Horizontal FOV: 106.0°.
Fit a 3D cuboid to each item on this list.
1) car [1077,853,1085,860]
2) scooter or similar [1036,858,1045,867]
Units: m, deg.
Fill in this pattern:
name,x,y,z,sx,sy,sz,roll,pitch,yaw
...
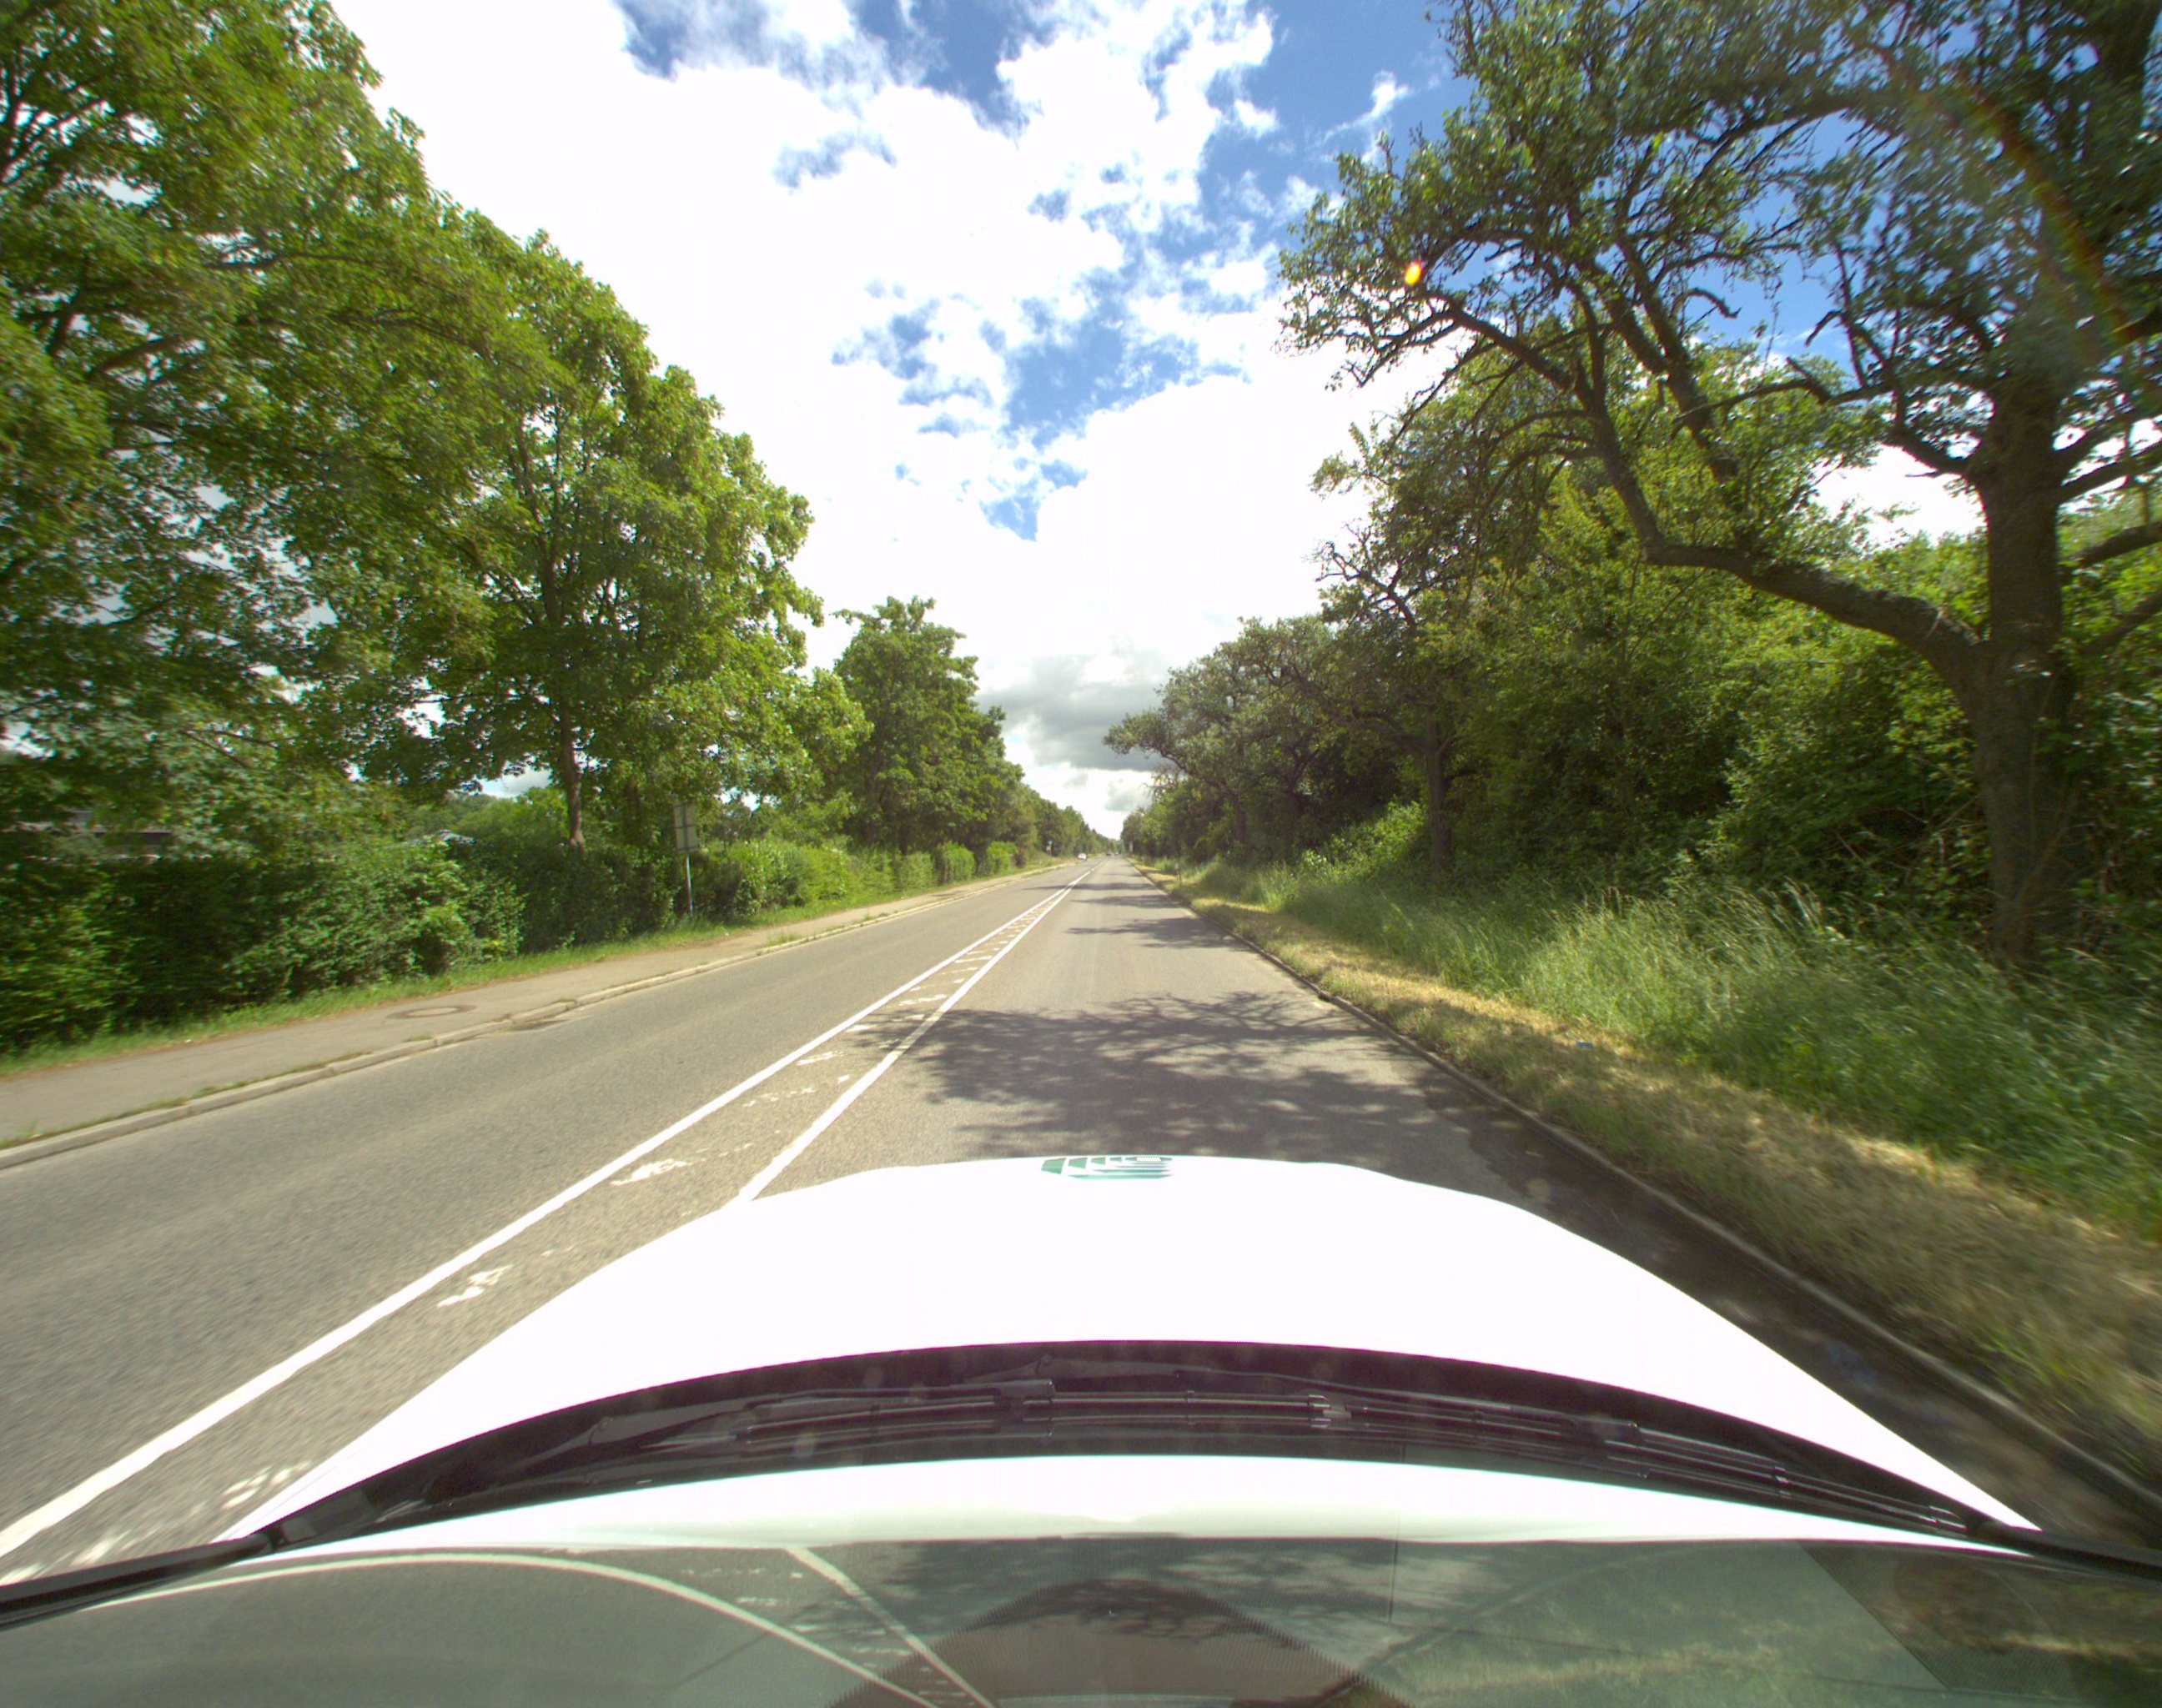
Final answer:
name,x,y,z,sx,sy,sz,roll,pitch,yaw
car,0.054,0.635,193.376,1.791,1.543,3.957,-2,-1,3
scooter or similar,-5.931,1.250,118.929,1.334,1.168,0.409,-1,0,43
